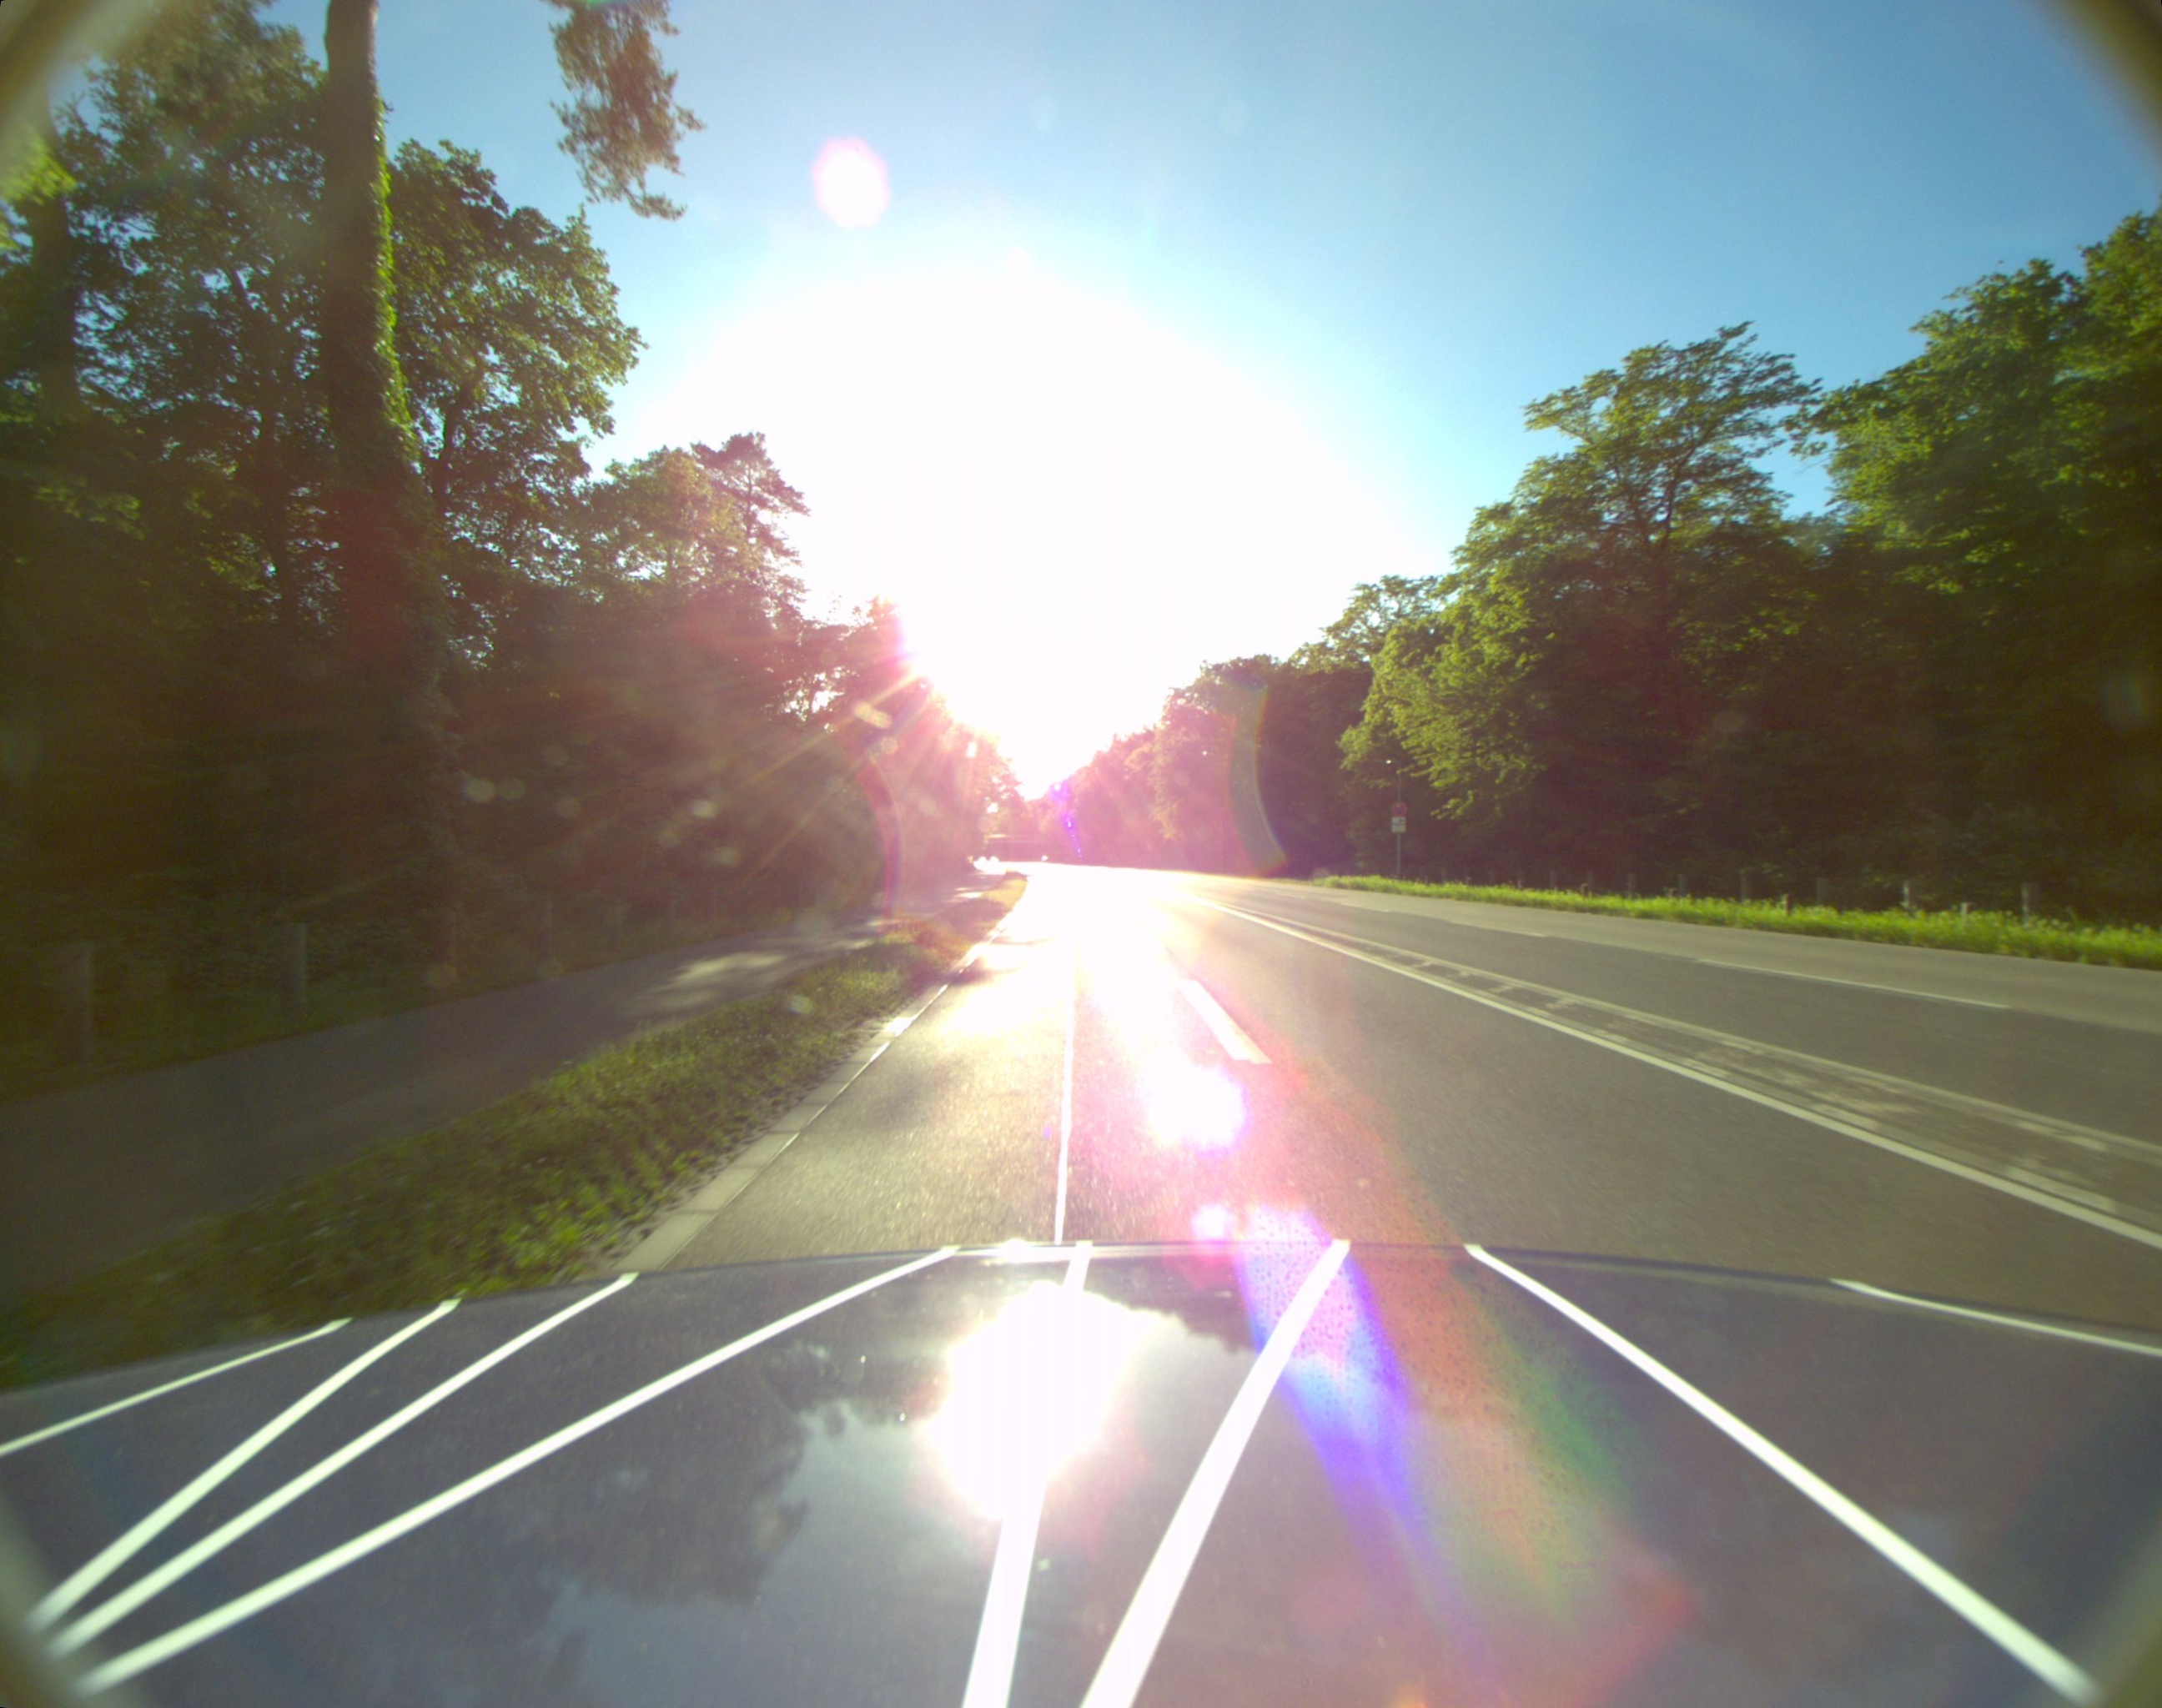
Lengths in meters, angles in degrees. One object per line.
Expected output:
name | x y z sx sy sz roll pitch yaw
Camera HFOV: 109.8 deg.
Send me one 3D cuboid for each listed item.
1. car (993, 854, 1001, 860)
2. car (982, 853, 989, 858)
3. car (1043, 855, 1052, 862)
car | -25.321 0.877 229.204 1.828 1.674 3.995 -1 0 -14
car | -32.642 0.562 260.227 1.828 1.674 3.995 -1 0 -14
car | -7.663 0.950 173.352 1.592 1.429 4.306 -3 0 -7
